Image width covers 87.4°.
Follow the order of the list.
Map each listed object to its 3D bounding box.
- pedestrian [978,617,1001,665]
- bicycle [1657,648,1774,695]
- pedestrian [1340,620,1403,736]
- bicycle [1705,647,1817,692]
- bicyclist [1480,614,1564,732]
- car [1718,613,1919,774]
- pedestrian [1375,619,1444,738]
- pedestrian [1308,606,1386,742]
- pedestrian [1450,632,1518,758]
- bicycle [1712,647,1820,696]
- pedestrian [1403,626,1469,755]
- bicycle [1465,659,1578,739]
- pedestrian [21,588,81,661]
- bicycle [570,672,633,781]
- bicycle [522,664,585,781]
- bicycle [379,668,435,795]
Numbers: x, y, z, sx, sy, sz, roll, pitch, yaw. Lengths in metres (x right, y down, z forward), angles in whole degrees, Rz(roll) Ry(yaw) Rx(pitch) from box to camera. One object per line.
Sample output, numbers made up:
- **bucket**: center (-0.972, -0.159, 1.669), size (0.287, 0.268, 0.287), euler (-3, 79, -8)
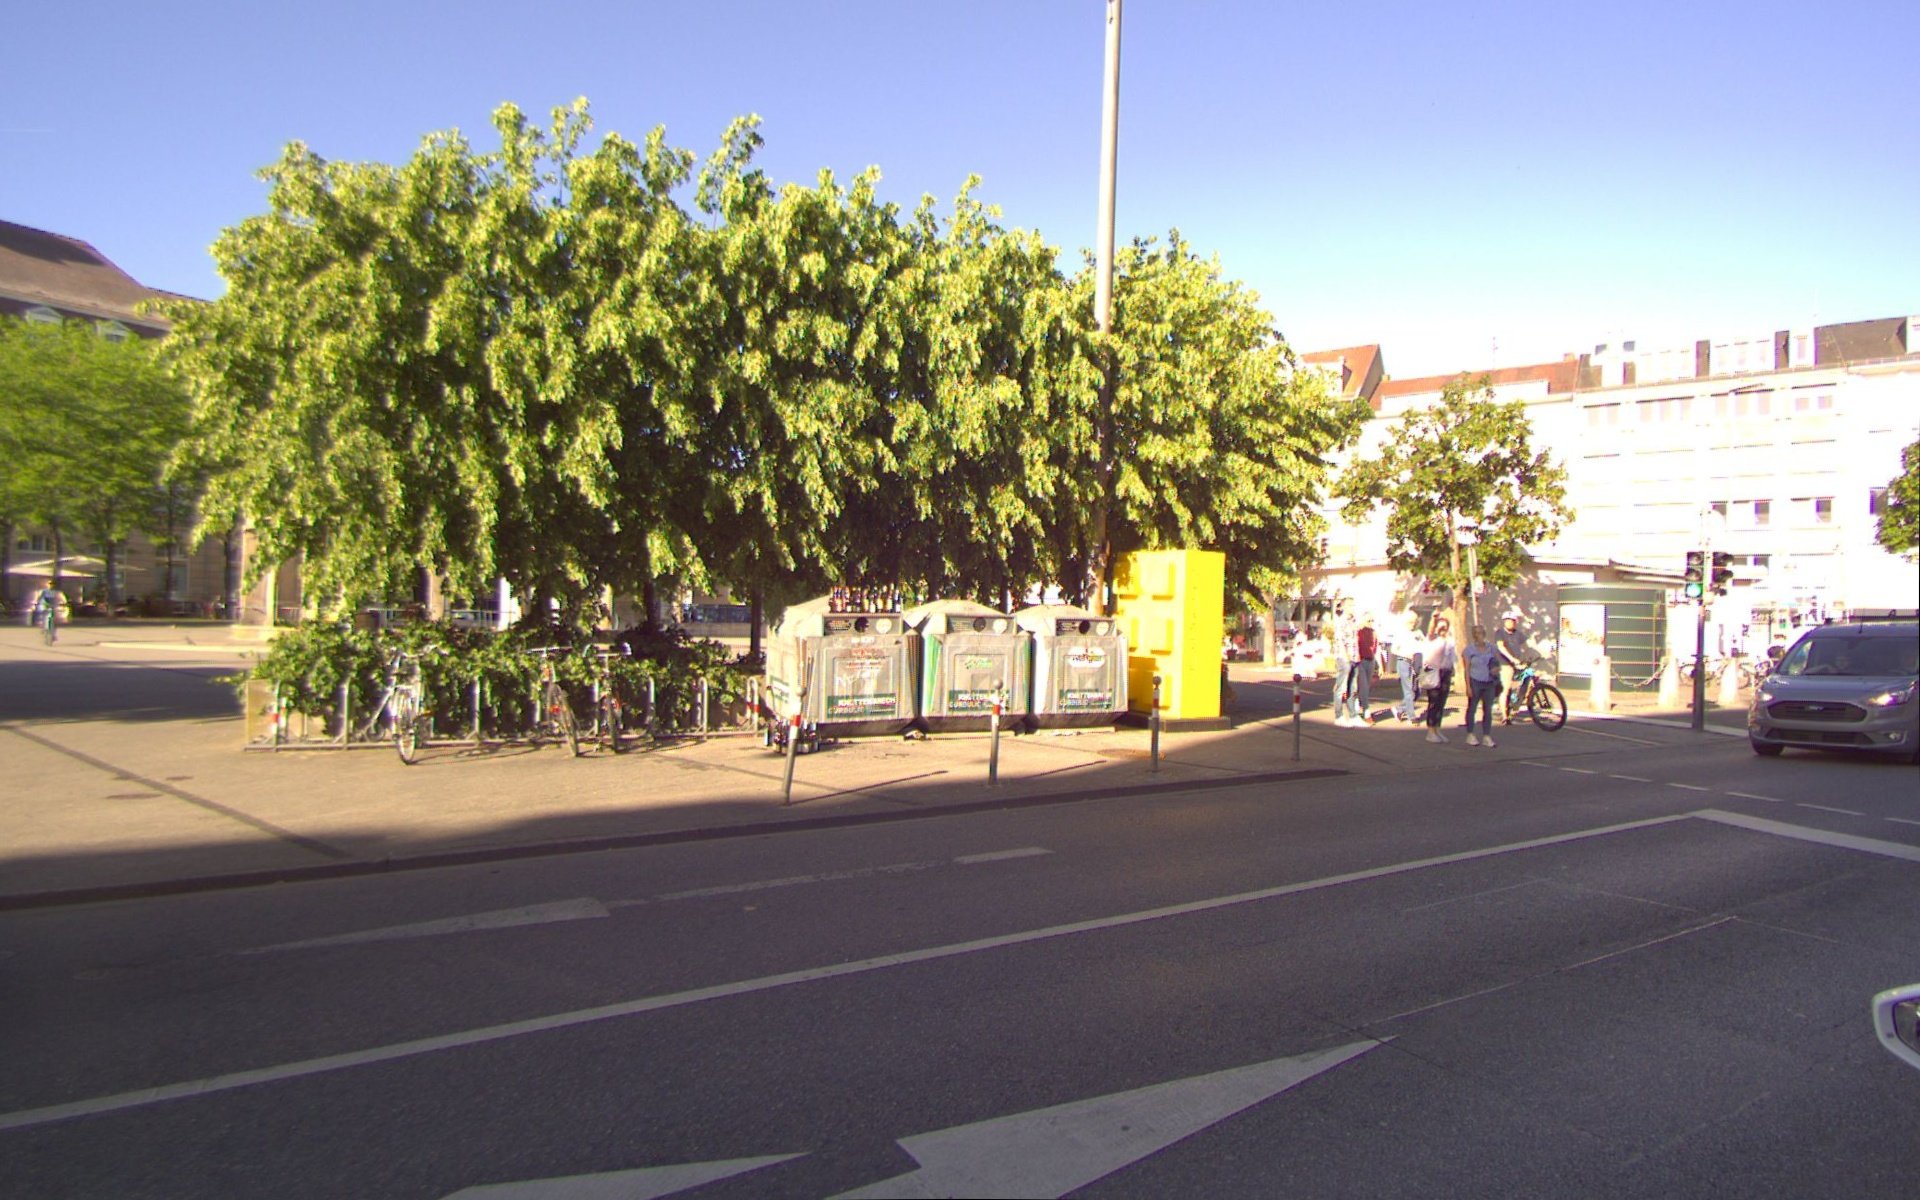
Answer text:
- **pedestrian**: center (1.287, 1.783, 44.018), size (0.913, 2.040, 1.185), euler (1, 0, -1)
- **bicycle**: center (21.219, 1.973, 28.271), size (0.833, 1.171, 2.493), euler (1, -1, -31)
- **pedestrian**: center (6.584, 1.226, 16.098), size (0.640, 1.792, 0.897), euler (1, -1, 1)
- **bicycle**: center (23.431, 2.002, 29.441), size (0.833, 1.171, 2.449), euler (1, -1, -31)
- **bicyclist**: center (9.213, 1.174, 16.494), size (0.773, 1.862, 0.952), euler (1, 0, -6)
- **car**: center (12.491, 1.198, 13.682), size (4.621, 1.868, 1.825), euler (1, -4, -31)
- **pedestrian**: center (7.269, 1.245, 16.276), size (0.727, 1.851, 0.846), euler (1, -1, 2)
- **pedestrian**: center (5.857, 1.092, 15.229), size (0.699, 1.981, 0.828), euler (1, 1, -18)
- **pedestrian**: center (7.249, 1.295, 13.921), size (0.608, 1.684, 0.685), euler (1, -1, 5)
- **bicycle**: center (24.779, 2.167, 30.935), size (0.913, 1.341, 2.461), euler (2, -1, -35)
- **pedestrian**: center (6.621, 1.241, 13.990), size (0.661, 1.751, 0.549), euler (1, -1, 3)
- **bicycle**: center (9.227, 1.595, 16.596), size (0.528, 1.154, 2.065), euler (1, -1, -6)
- **pedestrian**: center (-22.783, 0.616, 25.184), size (0.723, 1.781, 0.898), euler (1, 0, 29)
- **bicycle**: center (-3.851, 1.306, 10.743), size (0.425, 0.971, 1.517), euler (0, 0, -28)
- **bicycle**: center (-4.250, 1.228, 10.459), size (0.425, 1.036, 1.561), euler (1, -1, -28)
- **bicycle**: center (-5.418, 1.244, 9.872), size (0.425, 1.031, 1.590), euler (1, 0, -28)
